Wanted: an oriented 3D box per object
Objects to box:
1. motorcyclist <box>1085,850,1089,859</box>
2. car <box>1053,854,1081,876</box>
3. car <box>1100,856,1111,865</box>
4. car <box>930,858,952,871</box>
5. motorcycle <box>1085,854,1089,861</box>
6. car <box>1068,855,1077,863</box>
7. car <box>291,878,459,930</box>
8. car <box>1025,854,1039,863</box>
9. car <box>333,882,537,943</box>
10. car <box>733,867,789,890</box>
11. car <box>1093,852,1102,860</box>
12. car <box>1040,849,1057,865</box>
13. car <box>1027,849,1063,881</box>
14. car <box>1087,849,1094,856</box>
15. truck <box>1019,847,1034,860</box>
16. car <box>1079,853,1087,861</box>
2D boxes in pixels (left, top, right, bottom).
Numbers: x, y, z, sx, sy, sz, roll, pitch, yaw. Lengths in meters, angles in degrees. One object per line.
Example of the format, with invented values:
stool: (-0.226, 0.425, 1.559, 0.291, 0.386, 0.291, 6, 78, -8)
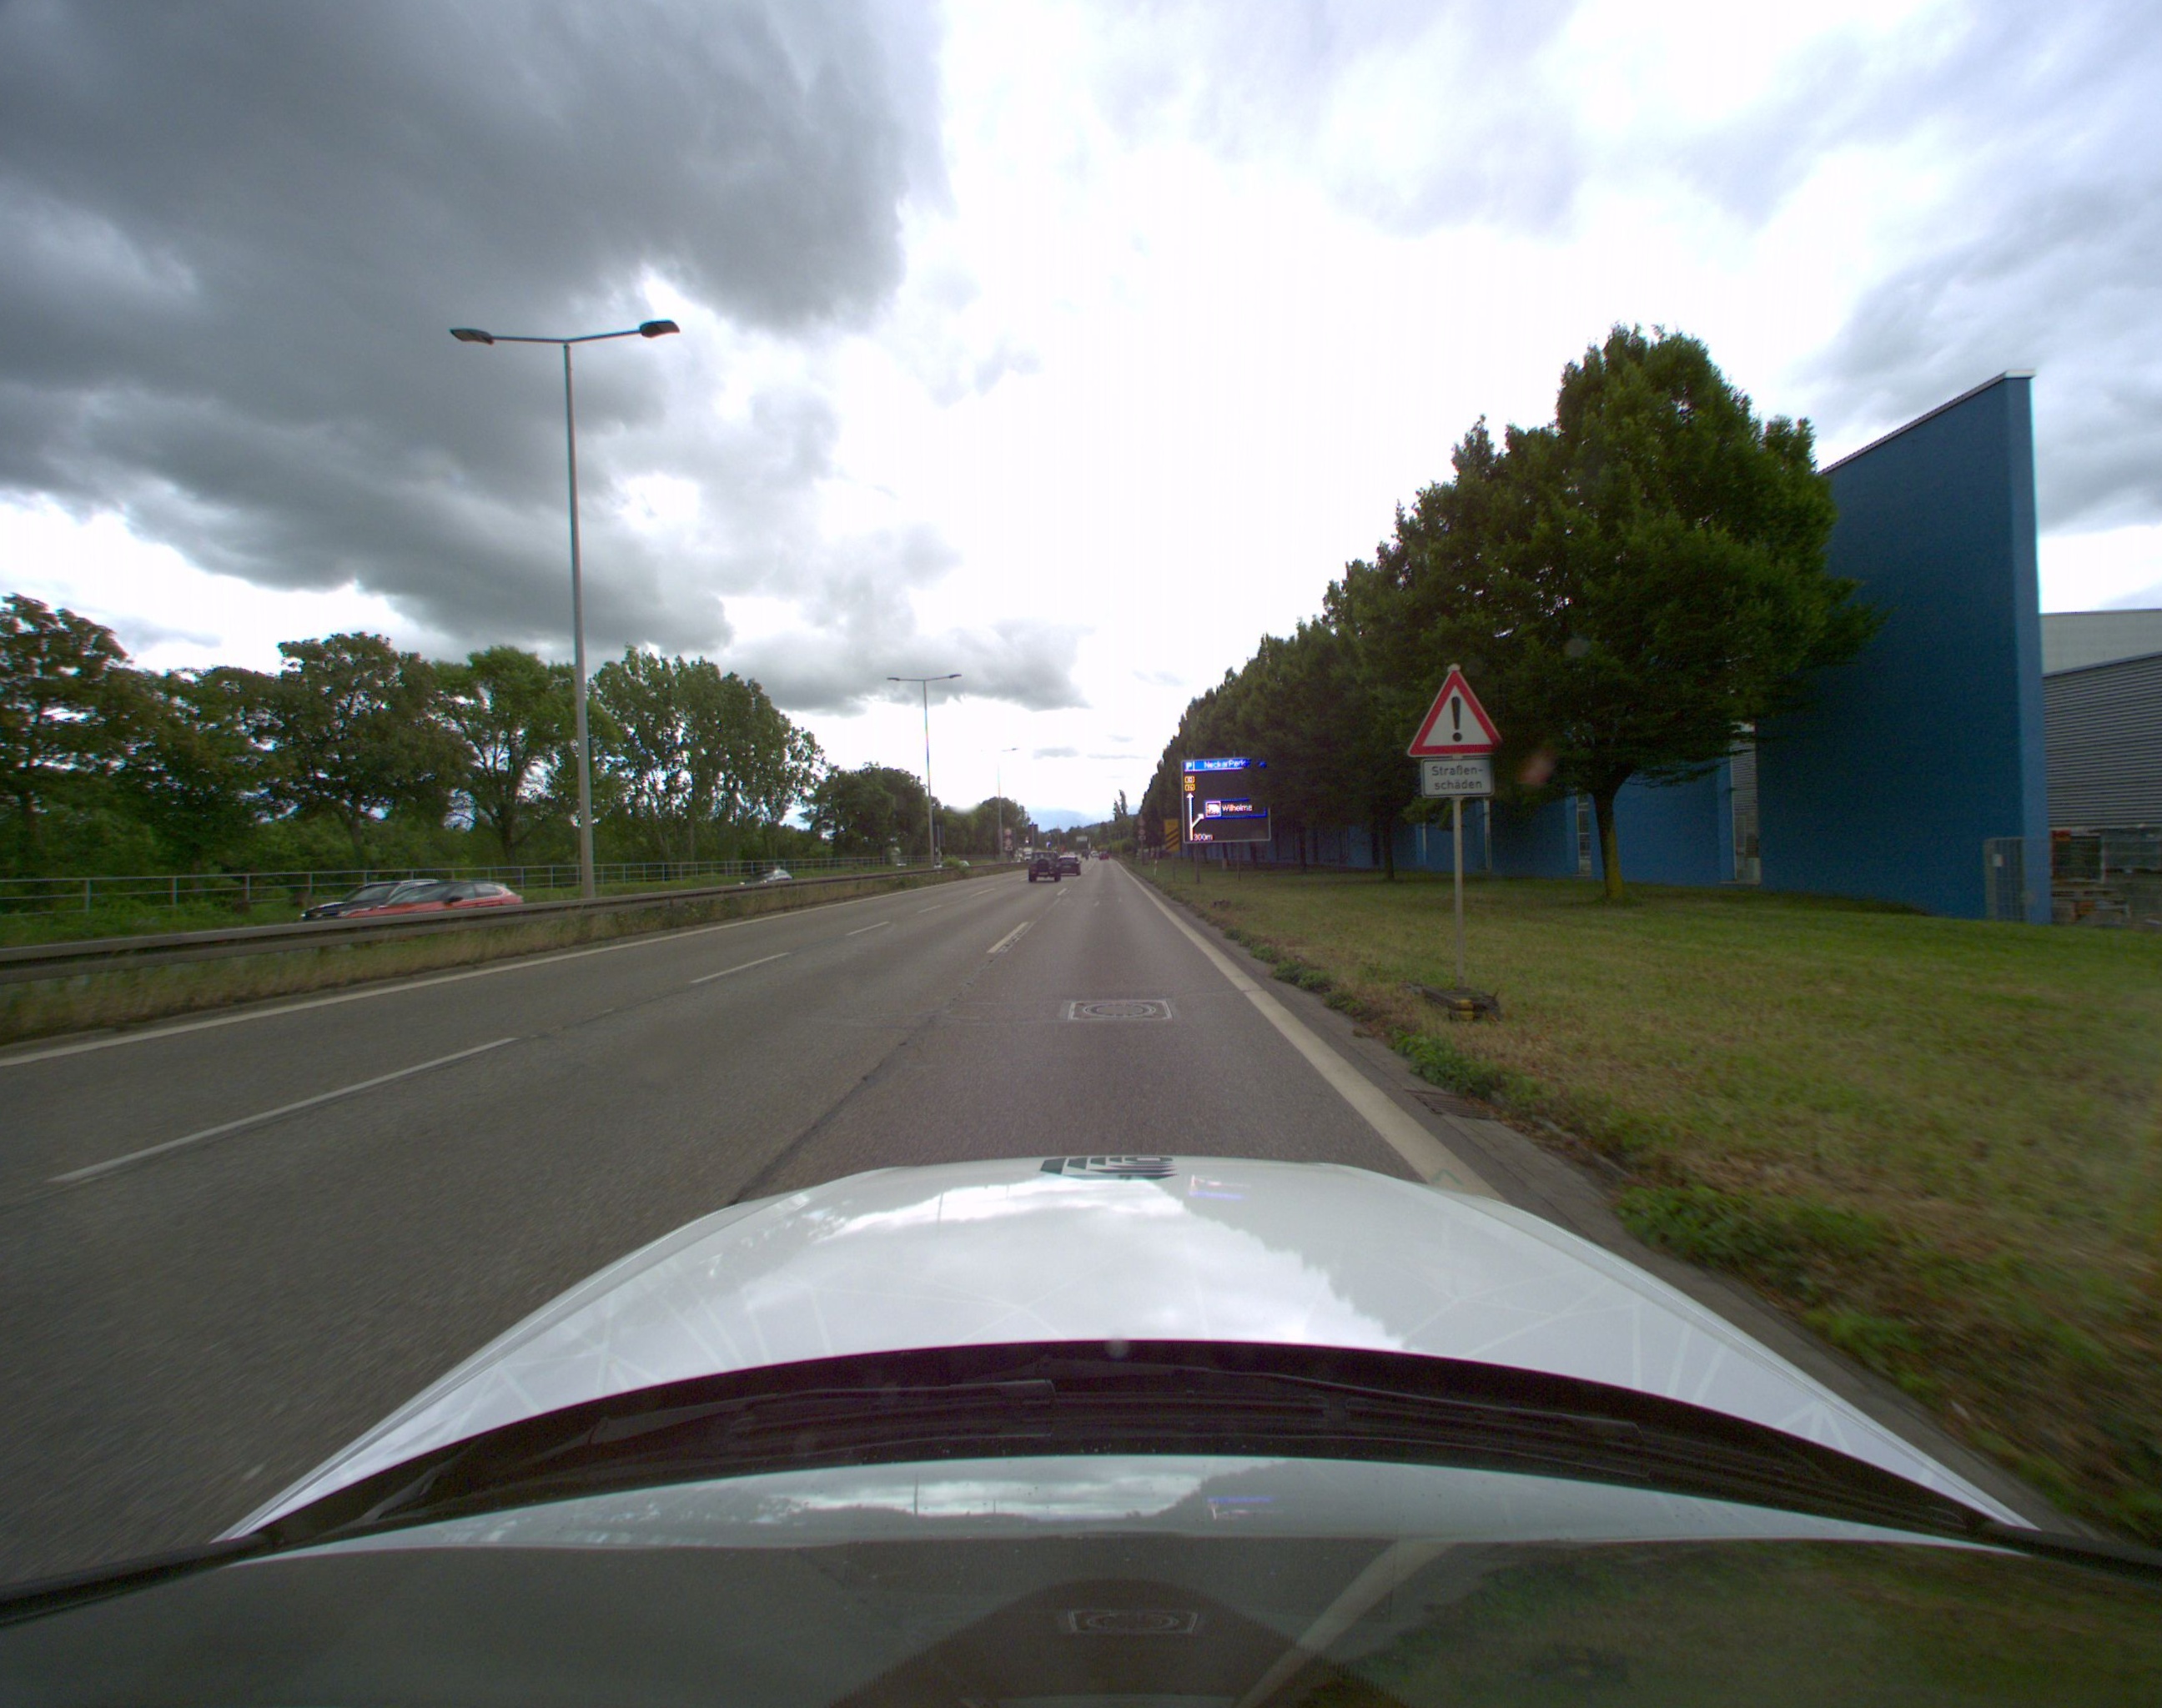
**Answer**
motorcyclist: (1.248, 0.156, 166.930, 0.788, 1.760, 0.923, -2, 0, 2)
car: (-0.953, 0.767, 59.929, 1.839, 1.423, 4.900, -3, 0, 1)
car: (4.494, 1.216, 151.279, 1.968, 1.423, 4.900, -3, 0, 1)
car: (-17.914, 1.307, 104.503, 1.871, 1.490, 4.204, -2, 0, 2)
motorcycle: (1.259, 0.715, 166.835, 0.788, 1.219, 2.331, -2, 0, 2)
car: (-1.850, 1.048, 173.120, 1.693, 1.742, 4.390, -4, 0, -1)
car: (-21.701, 1.494, 25.277, 1.573, 1.299, 4.063, -2, 0, 2)
car: (-10.803, 1.036, 179.517, 2.216, 1.948, 5.479, -3, 0, 4)
car: (-15.279, 1.322, 19.572, 1.539, 1.105, 4.068, -2, 0, 2)
car: (-20.820, 1.553, 53.189, 1.654, 1.299, 4.788, -2, 0, 1)
car: (4.110, 0.518, 205.853, 2.006, 1.934, 4.900, -3, 0, 1)
car: (-3.675, 0.285, 91.818, 1.692, 1.742, 4.000, 0, 0, 1)
car: (-1.988, 0.594, 45.840, 1.691, 1.686, 4.002, 0, 0, 2)
car: (2.835, -0.448, 244.973, 2.006, 1.934, 4.900, -3, 0, 1)
truck: (-15.749, -0.188, 234.782, 2.876, 3.578, 9.597, -3, 0, 4)
car: (0.621, 0.872, 221.027, 2.006, 1.934, 4.900, -3, 0, 1)
